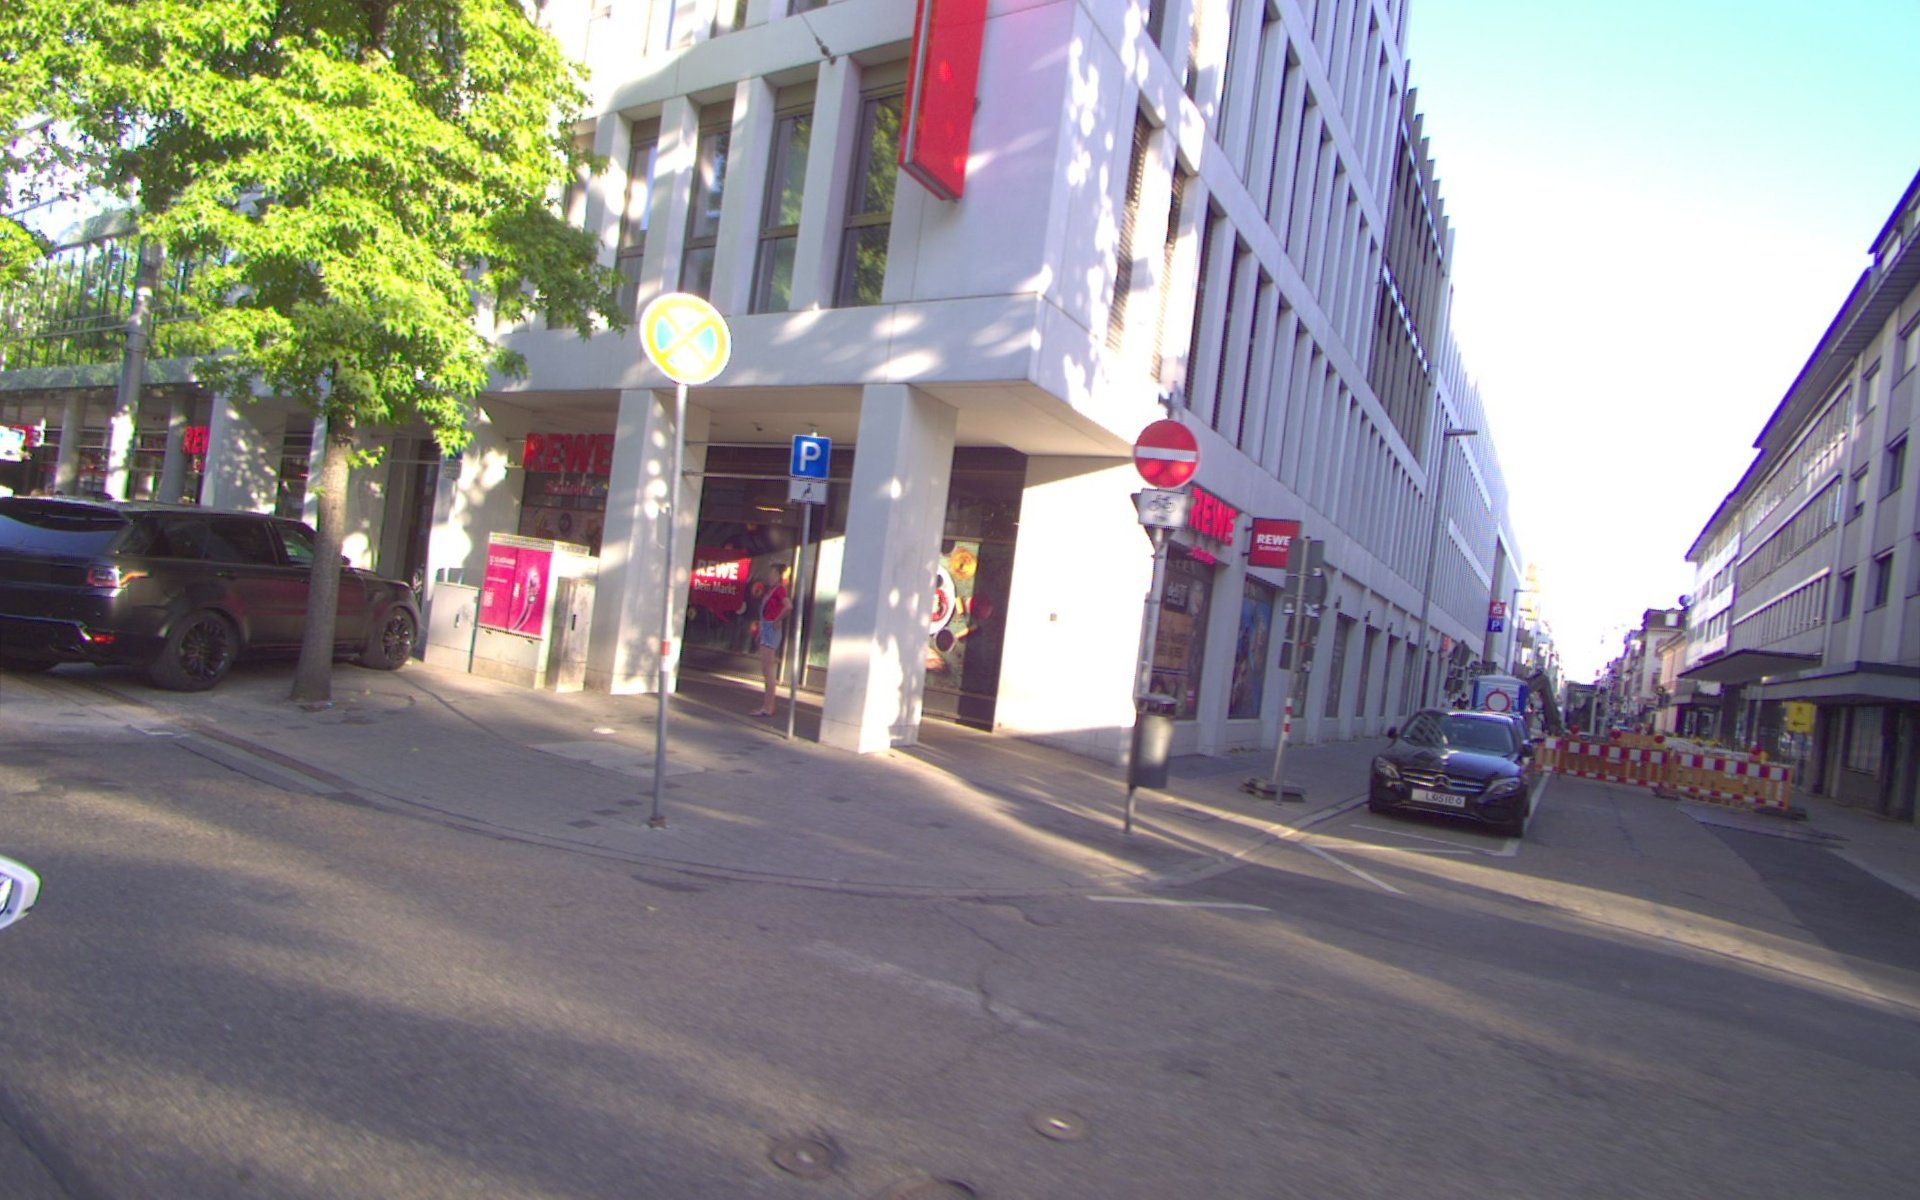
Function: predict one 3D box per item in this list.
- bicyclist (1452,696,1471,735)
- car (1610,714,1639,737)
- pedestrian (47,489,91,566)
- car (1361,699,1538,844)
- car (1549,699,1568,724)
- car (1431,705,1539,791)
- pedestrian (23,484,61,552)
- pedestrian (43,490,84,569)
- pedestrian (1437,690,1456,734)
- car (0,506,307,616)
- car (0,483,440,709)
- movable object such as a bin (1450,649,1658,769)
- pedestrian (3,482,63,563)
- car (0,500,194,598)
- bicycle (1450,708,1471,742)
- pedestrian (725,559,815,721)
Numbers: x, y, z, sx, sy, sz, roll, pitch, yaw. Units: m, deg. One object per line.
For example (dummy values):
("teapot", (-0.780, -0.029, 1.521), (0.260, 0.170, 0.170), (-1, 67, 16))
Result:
("bicyclist", (18.931, 4.359, 37.977), (0.463, 1.386, 0.639), (7, -1, 32))
("car", (58.901, 11.104, 89.193), (1.798, 1.636, 4.078), (7, -2, 31))
("pedestrian", (-20.970, -1.703, 23.689), (0.542, 1.716, 0.517), (7, -1, 37))
("car", (6.801, 2.196, 13.726), (1.767, 1.434, 4.325), (5, -3, 30))
("car", (82.821, 15.457, 139.217), (1.798, 3.166, 5.088), (7, -1, 31))
("car", (11.332, 3.082, 21.585), (1.767, 1.434, 4.325), (5, -3, 30))
("pedestrian", (-25.189, -2.243, 27.597), (0.516, 1.773, 0.557), (7, 2, 32))
("pedestrian", (-21.007, -1.654, 23.573), (0.550, 1.773, 0.523), (7, 2, 34))
("pedestrian", (20.454, 4.711, 42.298), (0.485, 1.755, 0.639), (7, 0, 32))
("car", (-13.429, -0.570, 16.375), (1.897, 1.444, 4.668), (6, 0, 11))
("car", (-7.910, -0.097, 10.728), (1.957, 1.786, 4.665), (6, 1, 3))
("movable object such as a bin", (18.820, 3.516, 31.603), (8.150, 2.943, 2.794), (9, -2, -39))
("pedestrian", (-21.086, -1.748, 22.887), (0.540, 1.716, 0.681), (7, -1, 20))
("car", (-15.892, -0.902, 17.120), (1.941, 1.488, 5.055), (6, 1, -3))
("bicycle", (18.913, 4.710, 38.015), (0.463, 1.199, 1.435), (7, -1, 32))
("pedestrian", (-2.301, 0.468, 12.137), (0.746, 1.841, 0.798), (5, 1, -25))
